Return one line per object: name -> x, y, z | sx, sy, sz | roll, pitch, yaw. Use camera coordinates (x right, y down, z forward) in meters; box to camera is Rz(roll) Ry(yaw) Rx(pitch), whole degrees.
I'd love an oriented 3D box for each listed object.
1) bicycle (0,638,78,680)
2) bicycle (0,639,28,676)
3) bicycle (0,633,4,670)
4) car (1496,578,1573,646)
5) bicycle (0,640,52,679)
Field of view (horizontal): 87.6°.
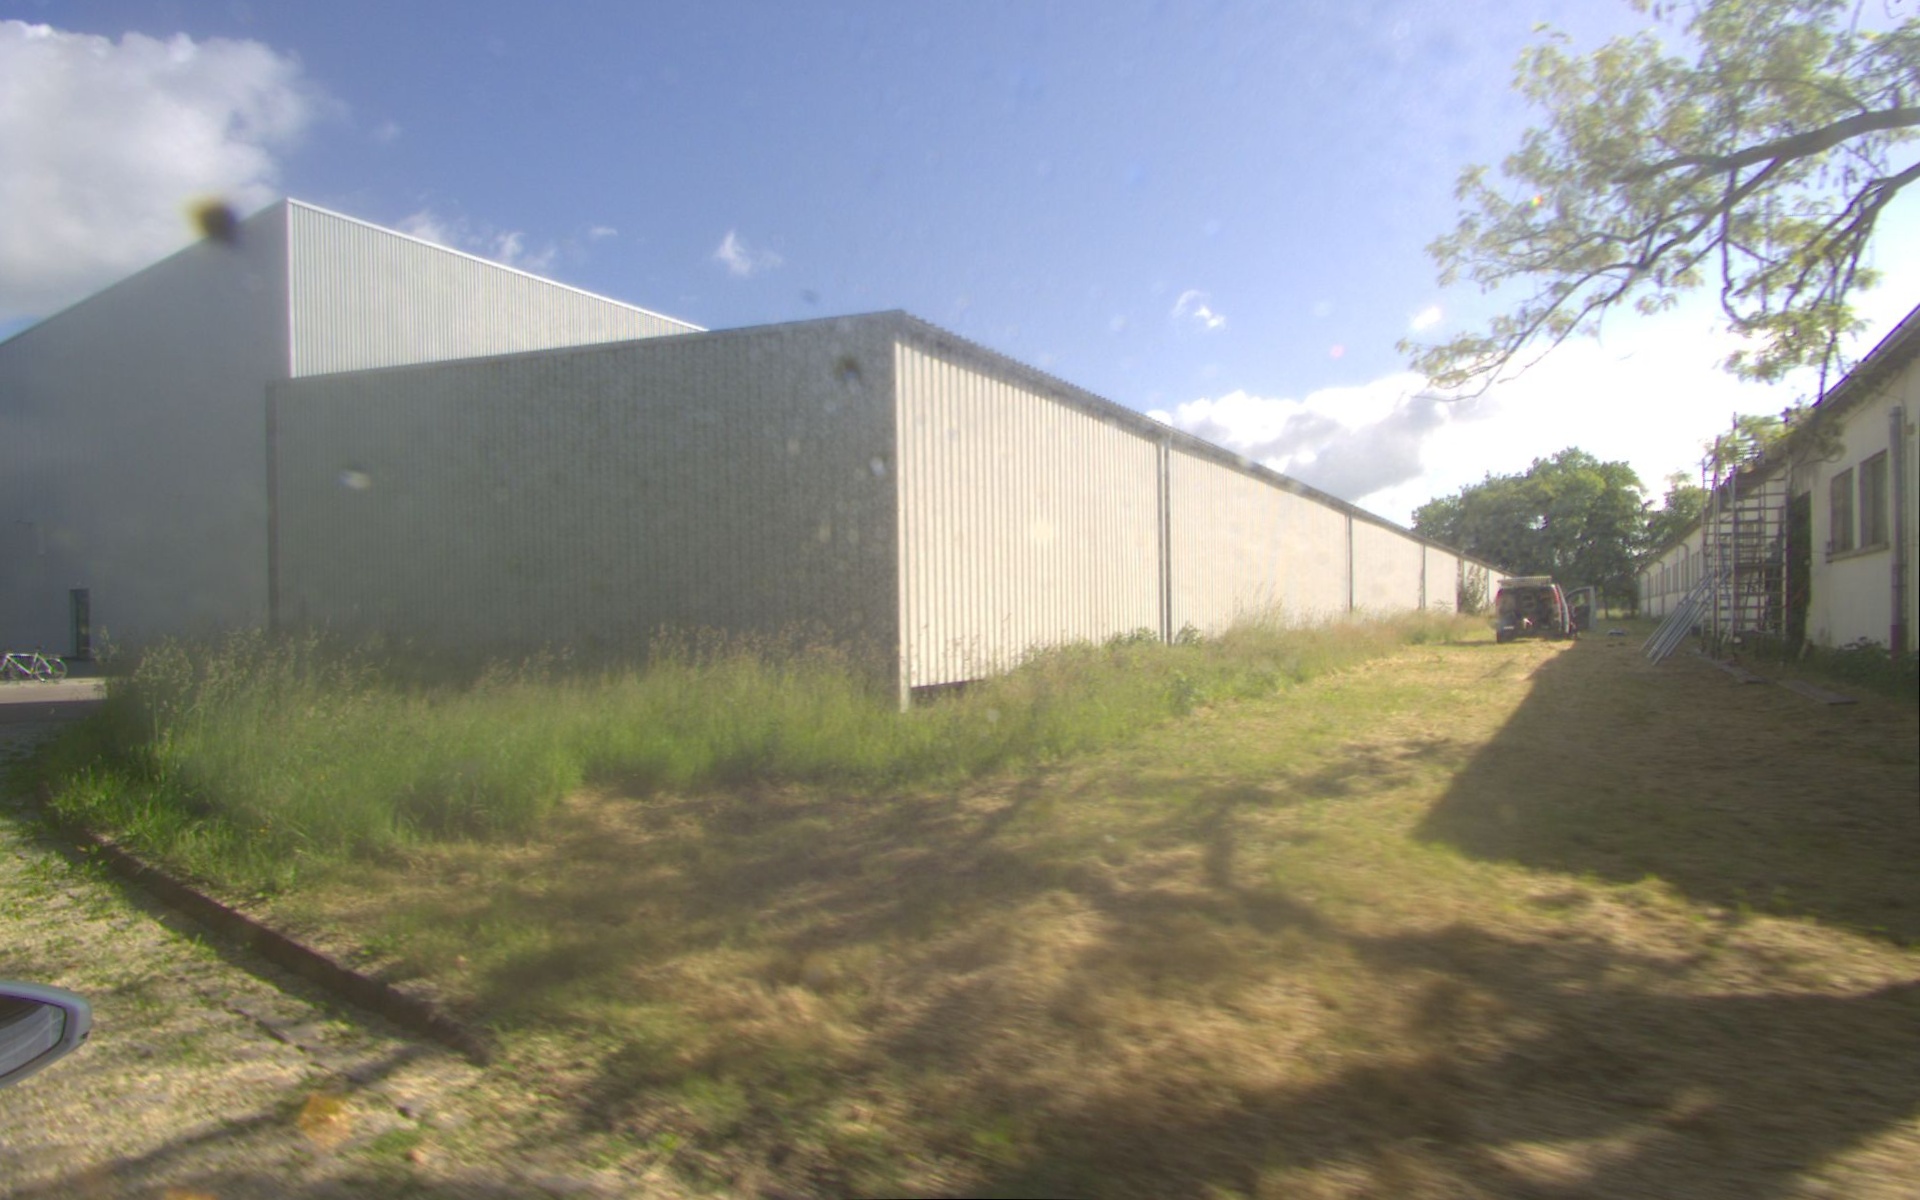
bicycle -> -25.134, 1.592, 27.139 | 0.452, 1.076, 1.798 | -1, -1, 28
bicycle -> -29.289, 1.750, 30.016 | 0.518, 1.109, 1.884 | -1, -1, 31
bicycle -> -33.746, 1.745, 33.339 | 1.126, 1.282, 2.621 | -1, -1, 37
car -> 18.501, 0.409, 32.170 | 1.972, 2.040, 3.978 | -1, -1, 33
bicycle -> -27.199, 1.702, 28.613 | 0.517, 1.096, 1.787 | -1, -1, 34
